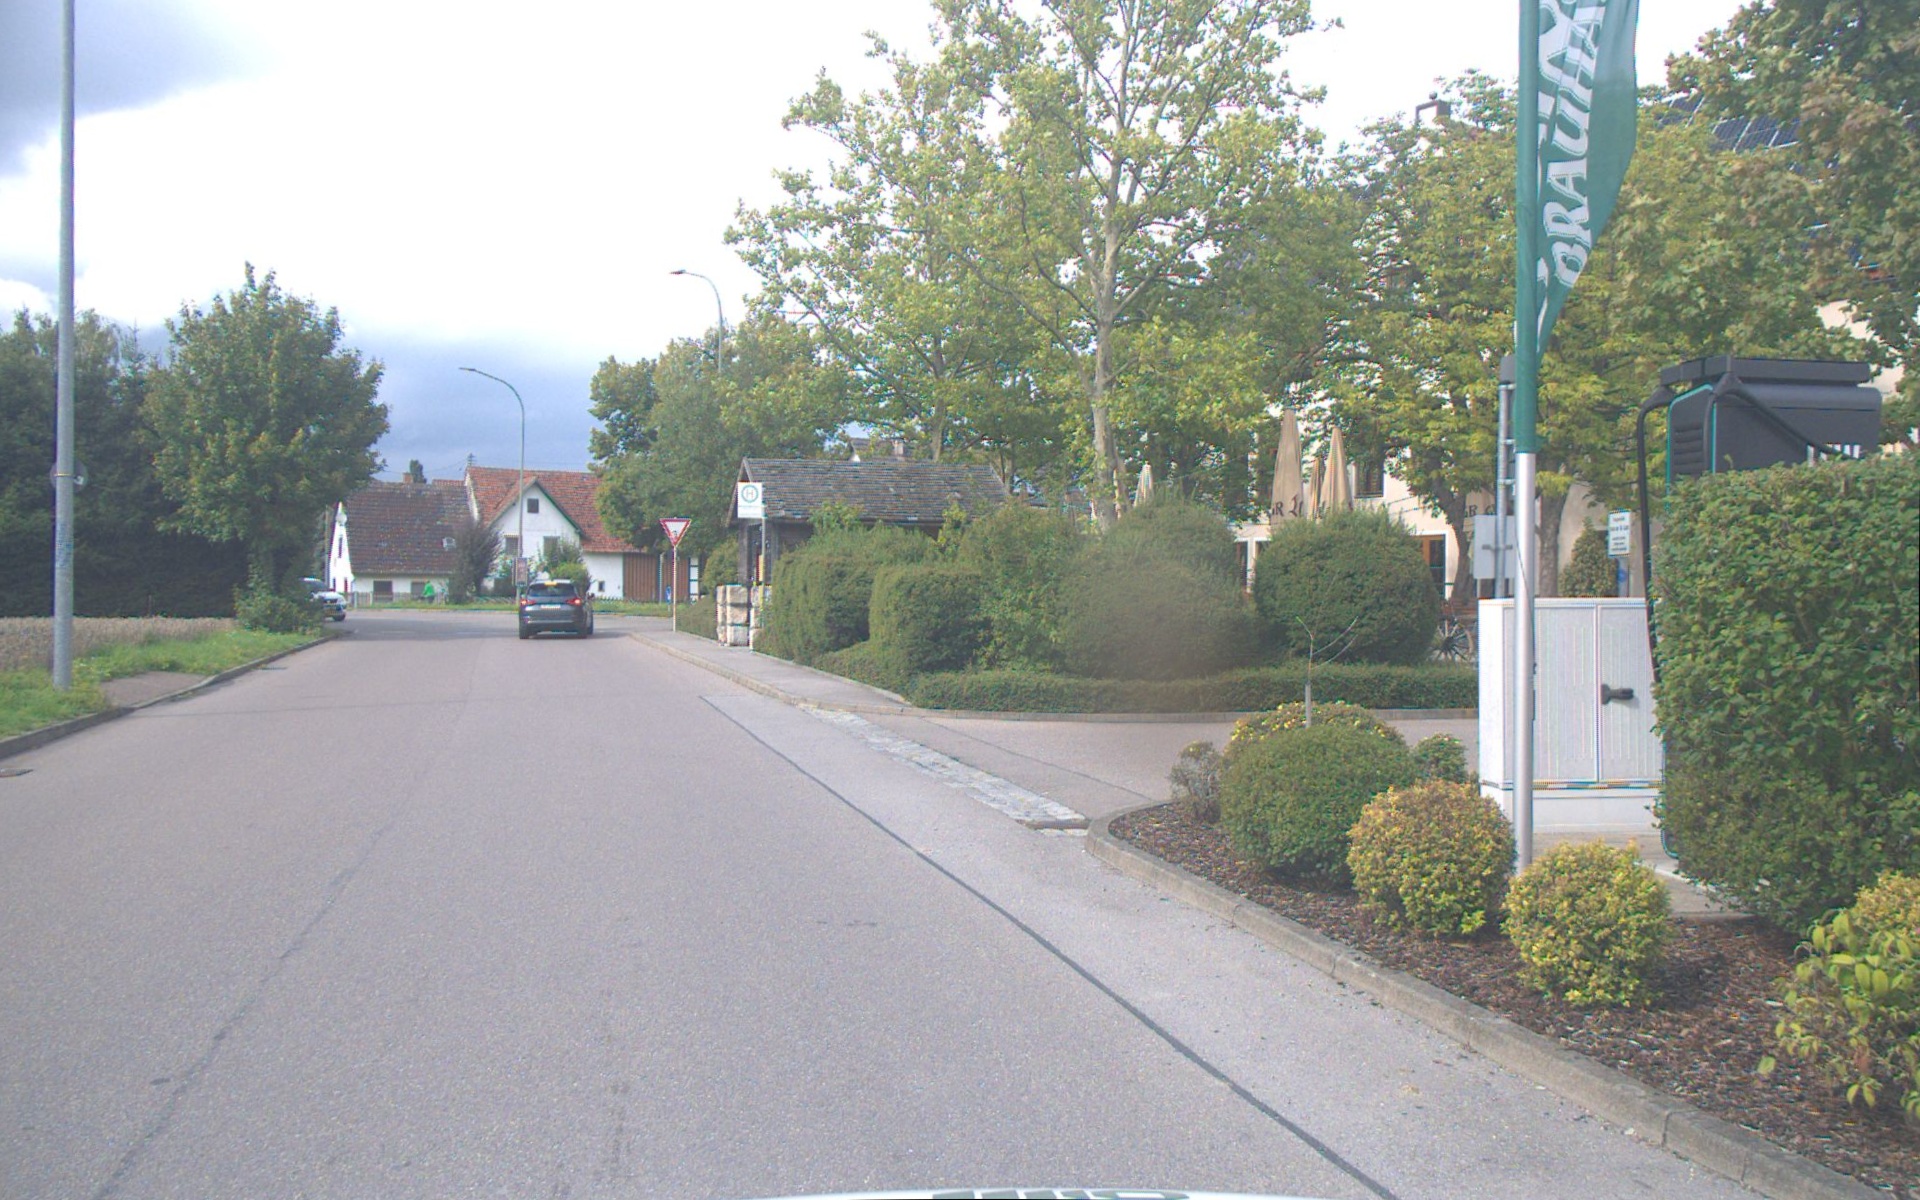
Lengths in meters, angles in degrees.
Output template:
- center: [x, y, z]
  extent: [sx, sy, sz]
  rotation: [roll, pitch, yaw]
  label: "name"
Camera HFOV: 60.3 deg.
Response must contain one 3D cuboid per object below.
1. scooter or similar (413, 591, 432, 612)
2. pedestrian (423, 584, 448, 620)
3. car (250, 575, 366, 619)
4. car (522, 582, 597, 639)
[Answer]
- center: [-25.957, 0.061, 79.873]
  extent: [0.611, 0.965, 0.629]
  rotation: [1, -4, 42]
  label: "scooter or similar"
- center: [-25.238, 0.094, 79.618]
  extent: [0.699, 1.694, 0.786]
  rotation: [1, -4, 42]
  label: "pedestrian"
- center: [-24.138, -0.127, 61.243]
  extent: [3.897, 1.542, 1.804]
  rotation: [1, 1, 24]
  label: "car"
- center: [-11.039, 0.260, 45.405]
  extent: [1.770, 1.488, 3.644]
  rotation: [0, 1, -18]
  label: "car"
